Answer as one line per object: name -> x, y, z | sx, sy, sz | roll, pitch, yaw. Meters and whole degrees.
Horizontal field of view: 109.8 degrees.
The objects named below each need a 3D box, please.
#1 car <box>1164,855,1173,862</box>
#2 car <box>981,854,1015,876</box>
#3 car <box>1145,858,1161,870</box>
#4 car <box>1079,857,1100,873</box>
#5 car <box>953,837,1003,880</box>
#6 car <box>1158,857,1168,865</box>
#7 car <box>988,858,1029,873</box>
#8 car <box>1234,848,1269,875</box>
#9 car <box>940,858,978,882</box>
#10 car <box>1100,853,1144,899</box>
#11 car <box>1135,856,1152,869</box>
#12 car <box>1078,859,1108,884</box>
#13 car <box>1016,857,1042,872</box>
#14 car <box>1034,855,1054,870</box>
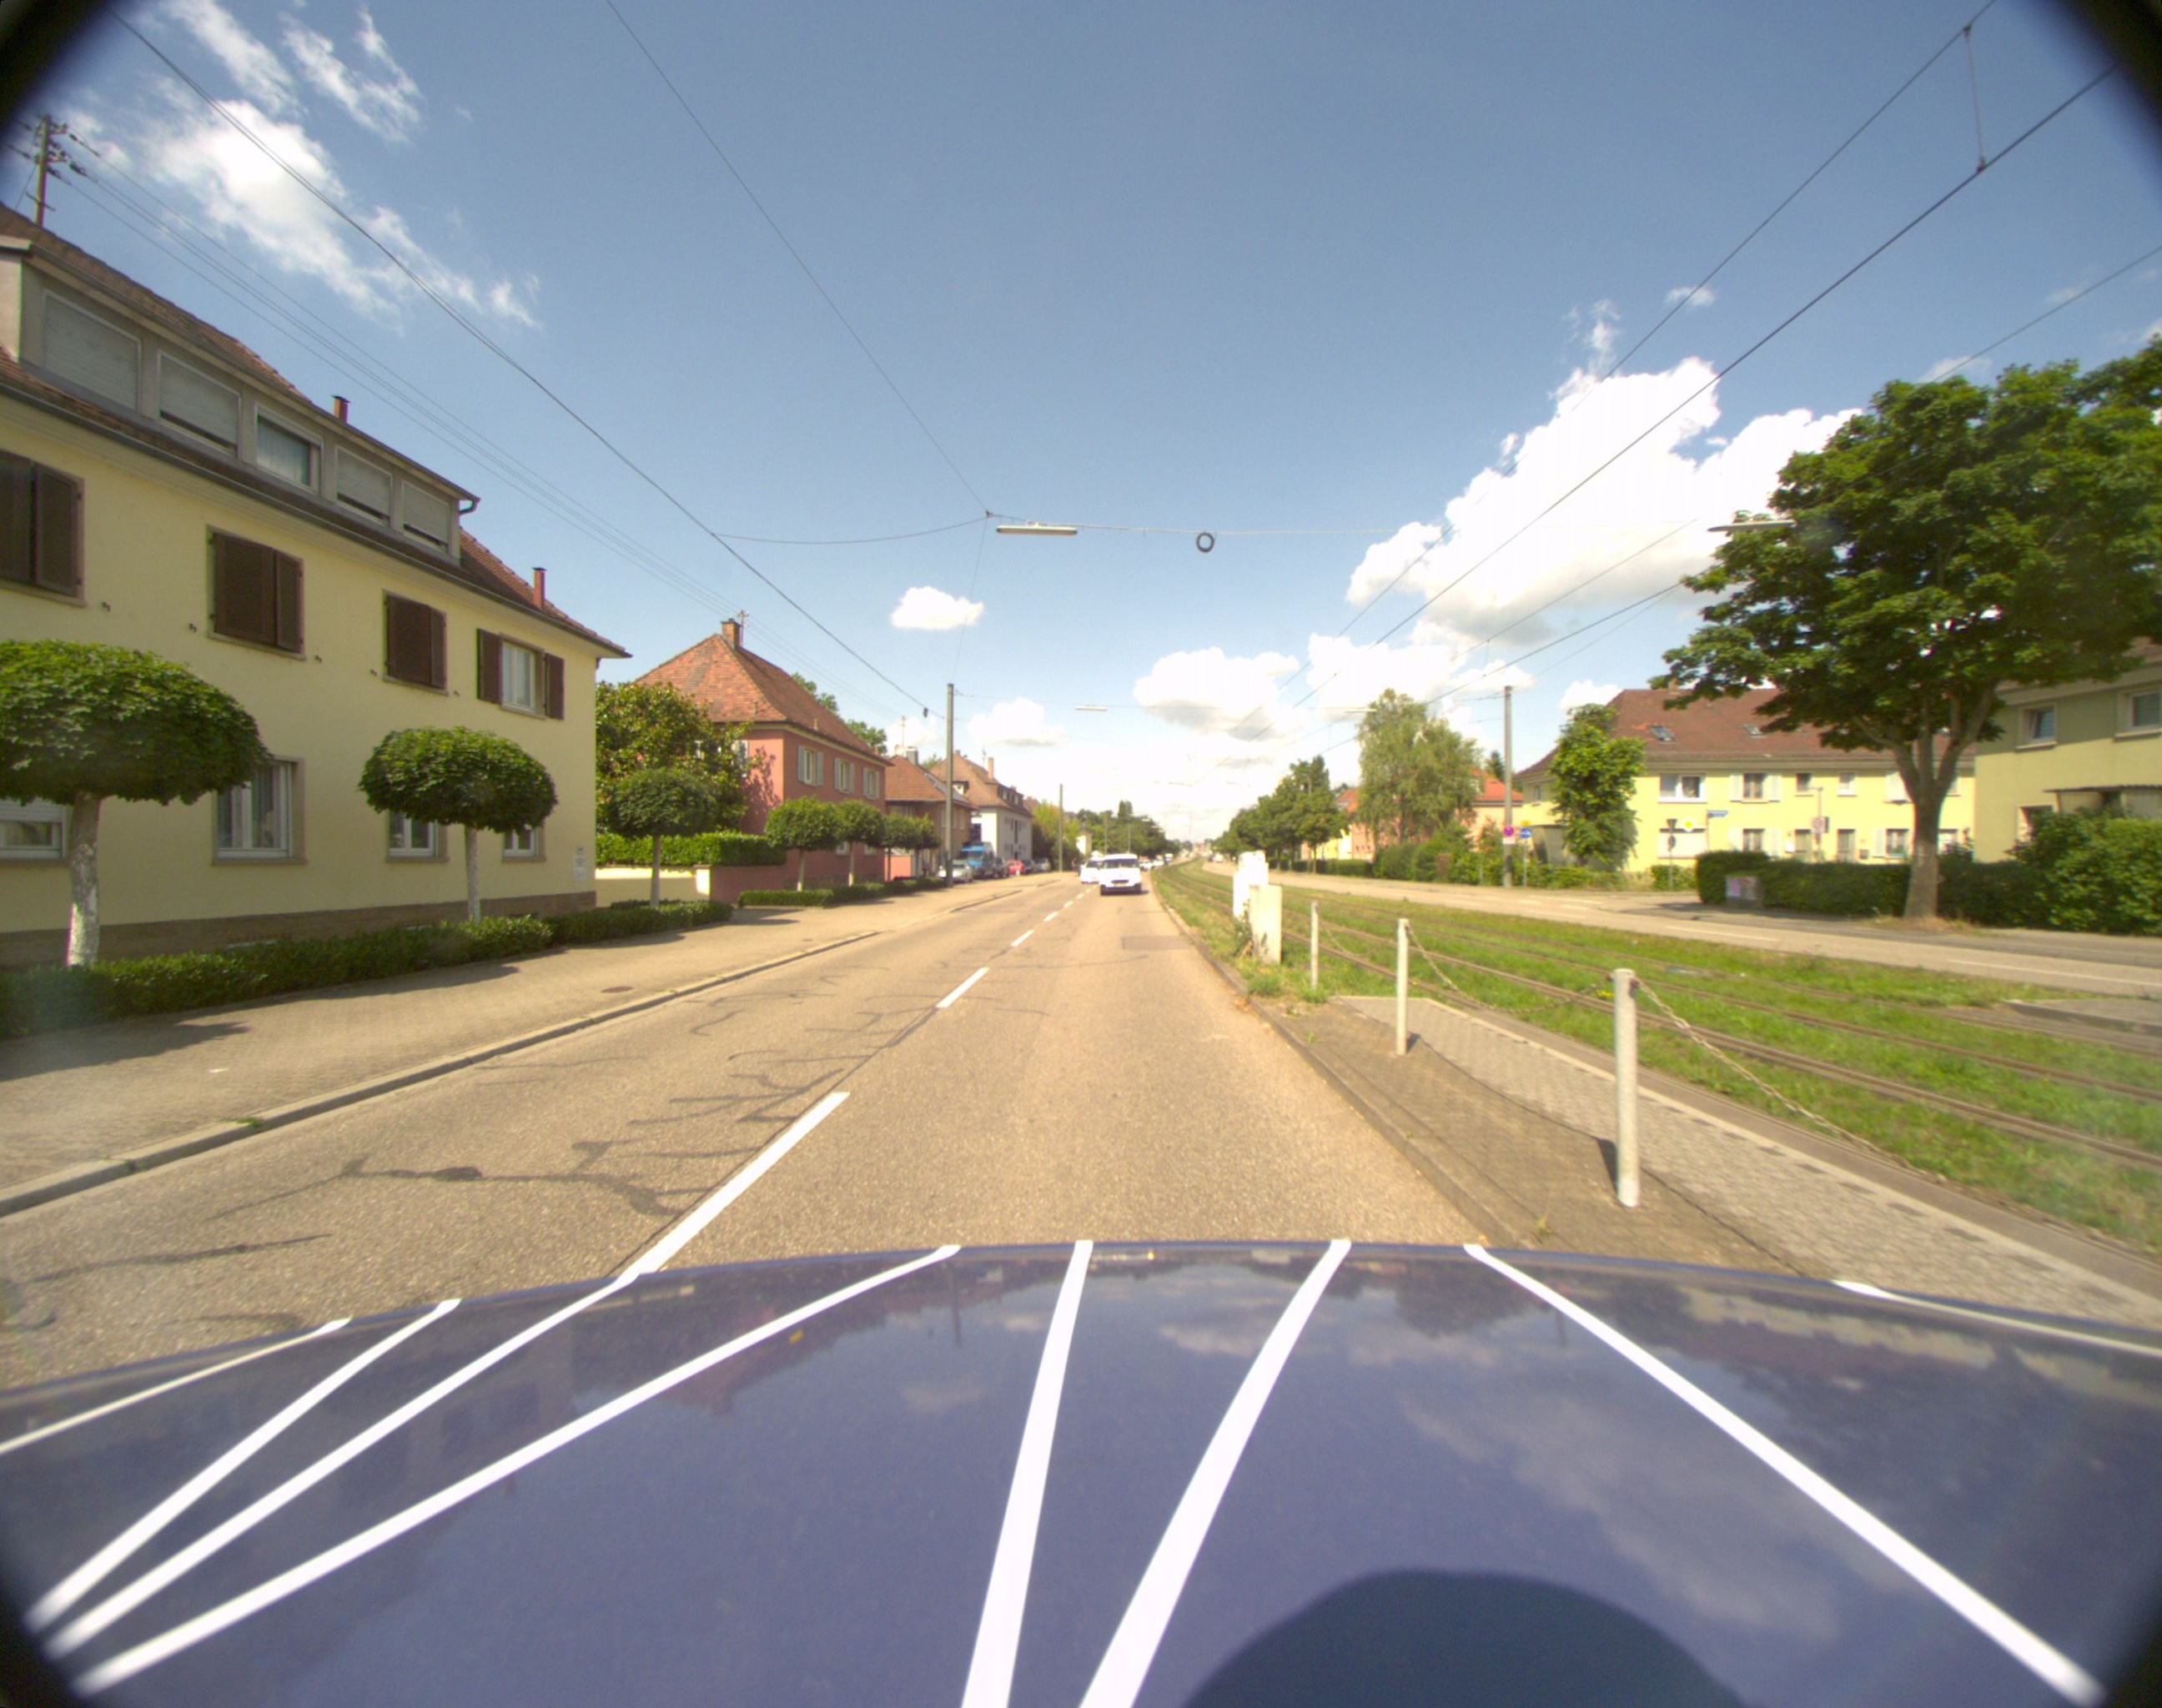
car -> 19.941, 1.103, 173.147 | 1.997, 1.477, 4.002 | -1, 0, 7
car -> -6.705, 0.863, 61.762 | 1.840, 1.701, 4.866 | 2, 0, 4
car -> 10.455, 1.388, 109.559 | 1.997, 1.576, 4.002 | -1, 0, 9
car -> 0.897, 1.103, 77.509 | 1.811, 1.550, 4.254 | -1, 0, 4
car -> -7.458, 0.296, 55.547 | 2.156, 2.913, 6.246 | -1, 0, 5
car -> 16.908, 1.477, 157.045 | 1.997, 1.477, 4.002 | -1, 0, 7
car -> -6.837, 1.109, 72.078 | 3.657, 1.372, 1.727 | 0, 1, 3
car -> 16.182, 0.673, 72.541 | 2.201, 2.358, 5.332 | 1, 1, 1
car -> -7.776, 1.010, 48.656 | 1.653, 1.401, 4.350 | 0, 0, 1
car -> 1.849, 0.911, 33.658 | 1.777, 1.850, 4.376 | -1, 0, 4
car -> 8.059, 1.046, 97.486 | 1.997, 1.477, 4.002 | -1, 0, 7
car -> 0.851, 1.142, 50.776 | 1.777, 1.540, 4.001 | -2, 0, 4
car -> -5.284, 1.026, 77.744 | 1.802, 1.415, 4.859 | 1, 0, 5
car -> -4.202, 0.956, 87.654 | 1.761, 1.637, 4.770 | 1, 1, 3
